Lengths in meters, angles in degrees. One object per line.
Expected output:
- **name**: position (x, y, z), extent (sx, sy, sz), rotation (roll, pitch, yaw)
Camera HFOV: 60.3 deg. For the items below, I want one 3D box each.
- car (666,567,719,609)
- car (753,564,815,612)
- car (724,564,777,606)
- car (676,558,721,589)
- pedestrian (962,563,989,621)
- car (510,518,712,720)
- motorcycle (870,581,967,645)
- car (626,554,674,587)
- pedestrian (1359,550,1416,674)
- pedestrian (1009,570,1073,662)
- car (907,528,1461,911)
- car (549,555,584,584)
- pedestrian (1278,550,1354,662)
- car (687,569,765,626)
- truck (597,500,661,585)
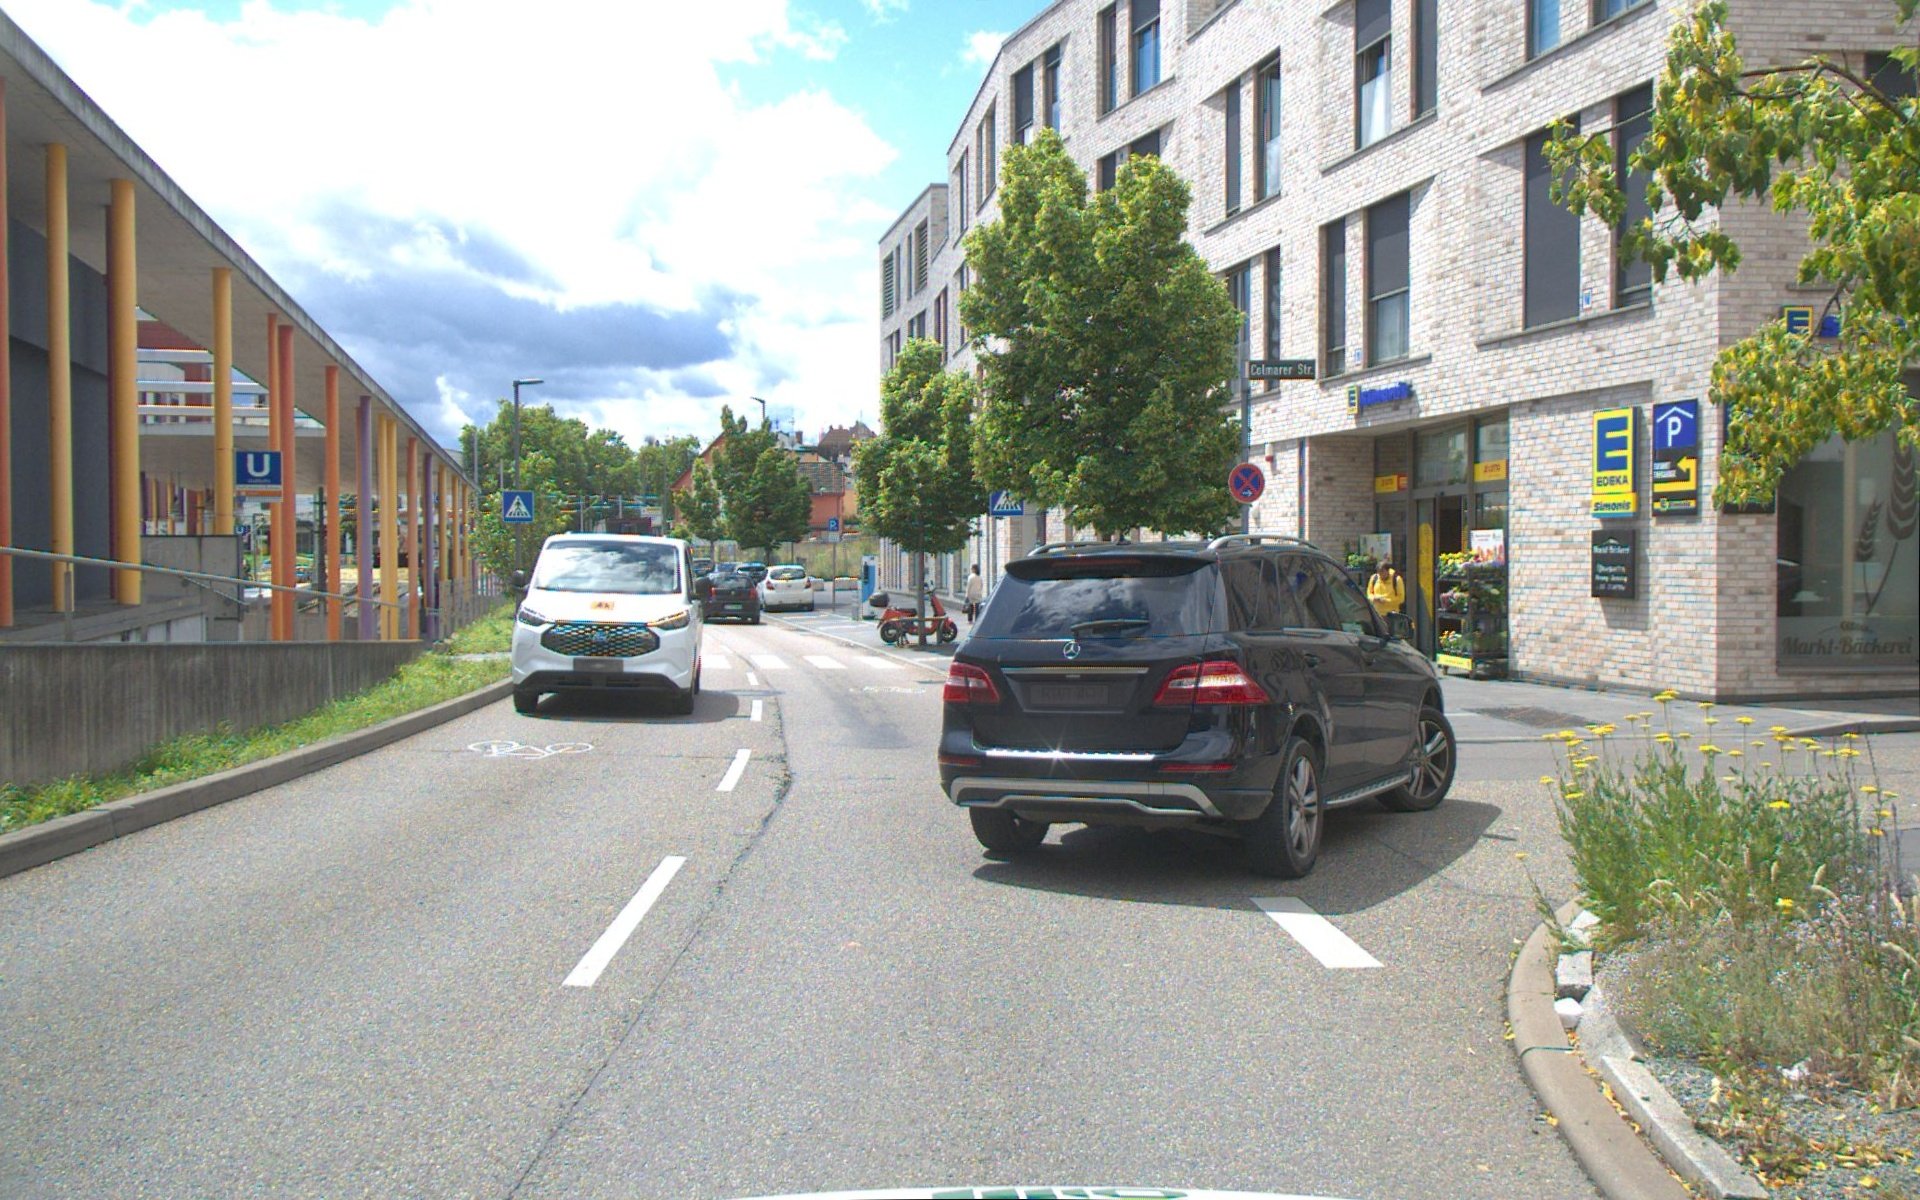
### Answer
- **car**: position (-10.094, -0.469, 62.245), extent (1.682, 1.417, 3.796), rotation (-1, 2, -13)
- **car**: position (-5.991, -0.434, 56.066), extent (1.663, 1.509, 3.786), rotation (-2, 2, -12)
- **car**: position (-8.292, -0.619, 65.101), extent (1.663, 1.486, 4.134), rotation (-2, 2, -12)
- **car**: position (-13.585, -1.395, 85.748), extent (1.753, 1.477, 4.458), rotation (-2, 2, -16)
- **pedestrian**: position (0.398, -0.222, 43.654), extent (0.595, 1.498, 0.790), rotation (-2, 2, -6)
- **car**: position (-4.000, 0.165, 19.784), extent (1.956, 2.049, 5.384), rotation (2, 1, -8)
- **motorcycle**: position (-0.896, 0.272, 35.829), extent (2.007, 1.288, 0.673), rotation (-2, 0, 4)
- **car**: position (-14.816, -1.416, 79.017), extent (1.857, 1.491, 4.052), rotation (-2, 1, -16)
- **pedestrian**: position (6.061, 0.157, 23.438), extent (0.645, 1.722, 0.631), rotation (0, 1, 26)
- **pedestrian**: position (1.437, 0.282, 29.358), extent (0.912, 1.592, 0.811), rotation (1, -1, -16)
- **car**: position (1.637, 0.496, 10.144), extent (1.955, 1.777, 4.527), rotation (-1, 1, 27)
- **car**: position (-21.268, -1.654, 89.512), extent (1.780, 1.494, 3.895), rotation (1, 1, -13)
- **pedestrian**: position (5.783, 0.089, 26.887), extent (0.999, 1.772, 0.656), rotation (-1, 1, -18)
- **car**: position (-6.801, -0.109, 47.824), extent (1.698, 1.482, 3.793), rotation (-1, 2, -16)
- **truck**: position (-19.225, -3.197, 95.731), extent (3.149, 4.615, 8.994), rotation (1, 0, -14)
